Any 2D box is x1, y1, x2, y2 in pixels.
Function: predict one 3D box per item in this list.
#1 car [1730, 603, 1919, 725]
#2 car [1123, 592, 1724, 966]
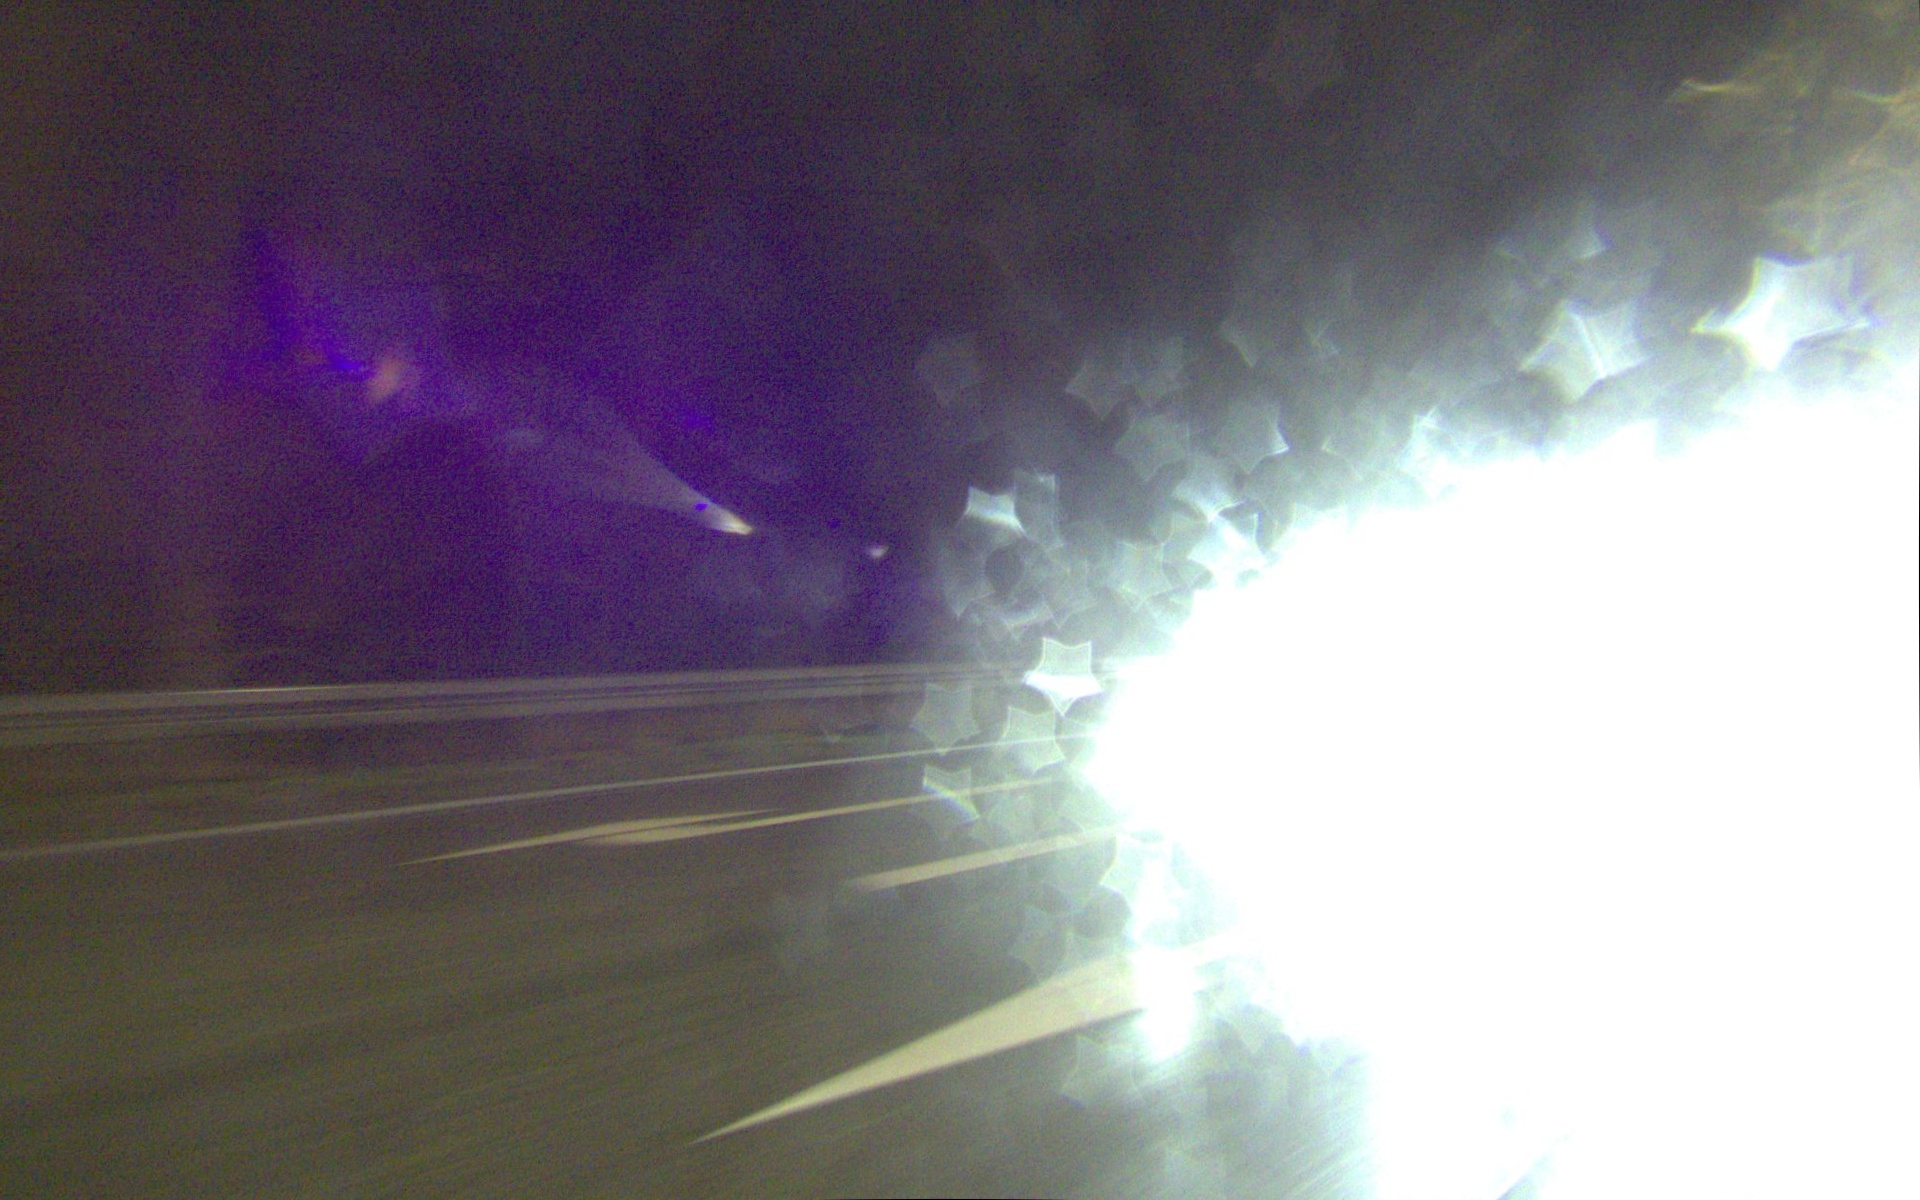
[{"bbox_3d":[13.109,0.831,14.999,4.487,1.503,1.825,1,1,-41],"label":"car"},{"bbox_3d":[3.135,0.719,6.233,4.644,1.467,1.733,1,0,-43],"label":"car"}]
